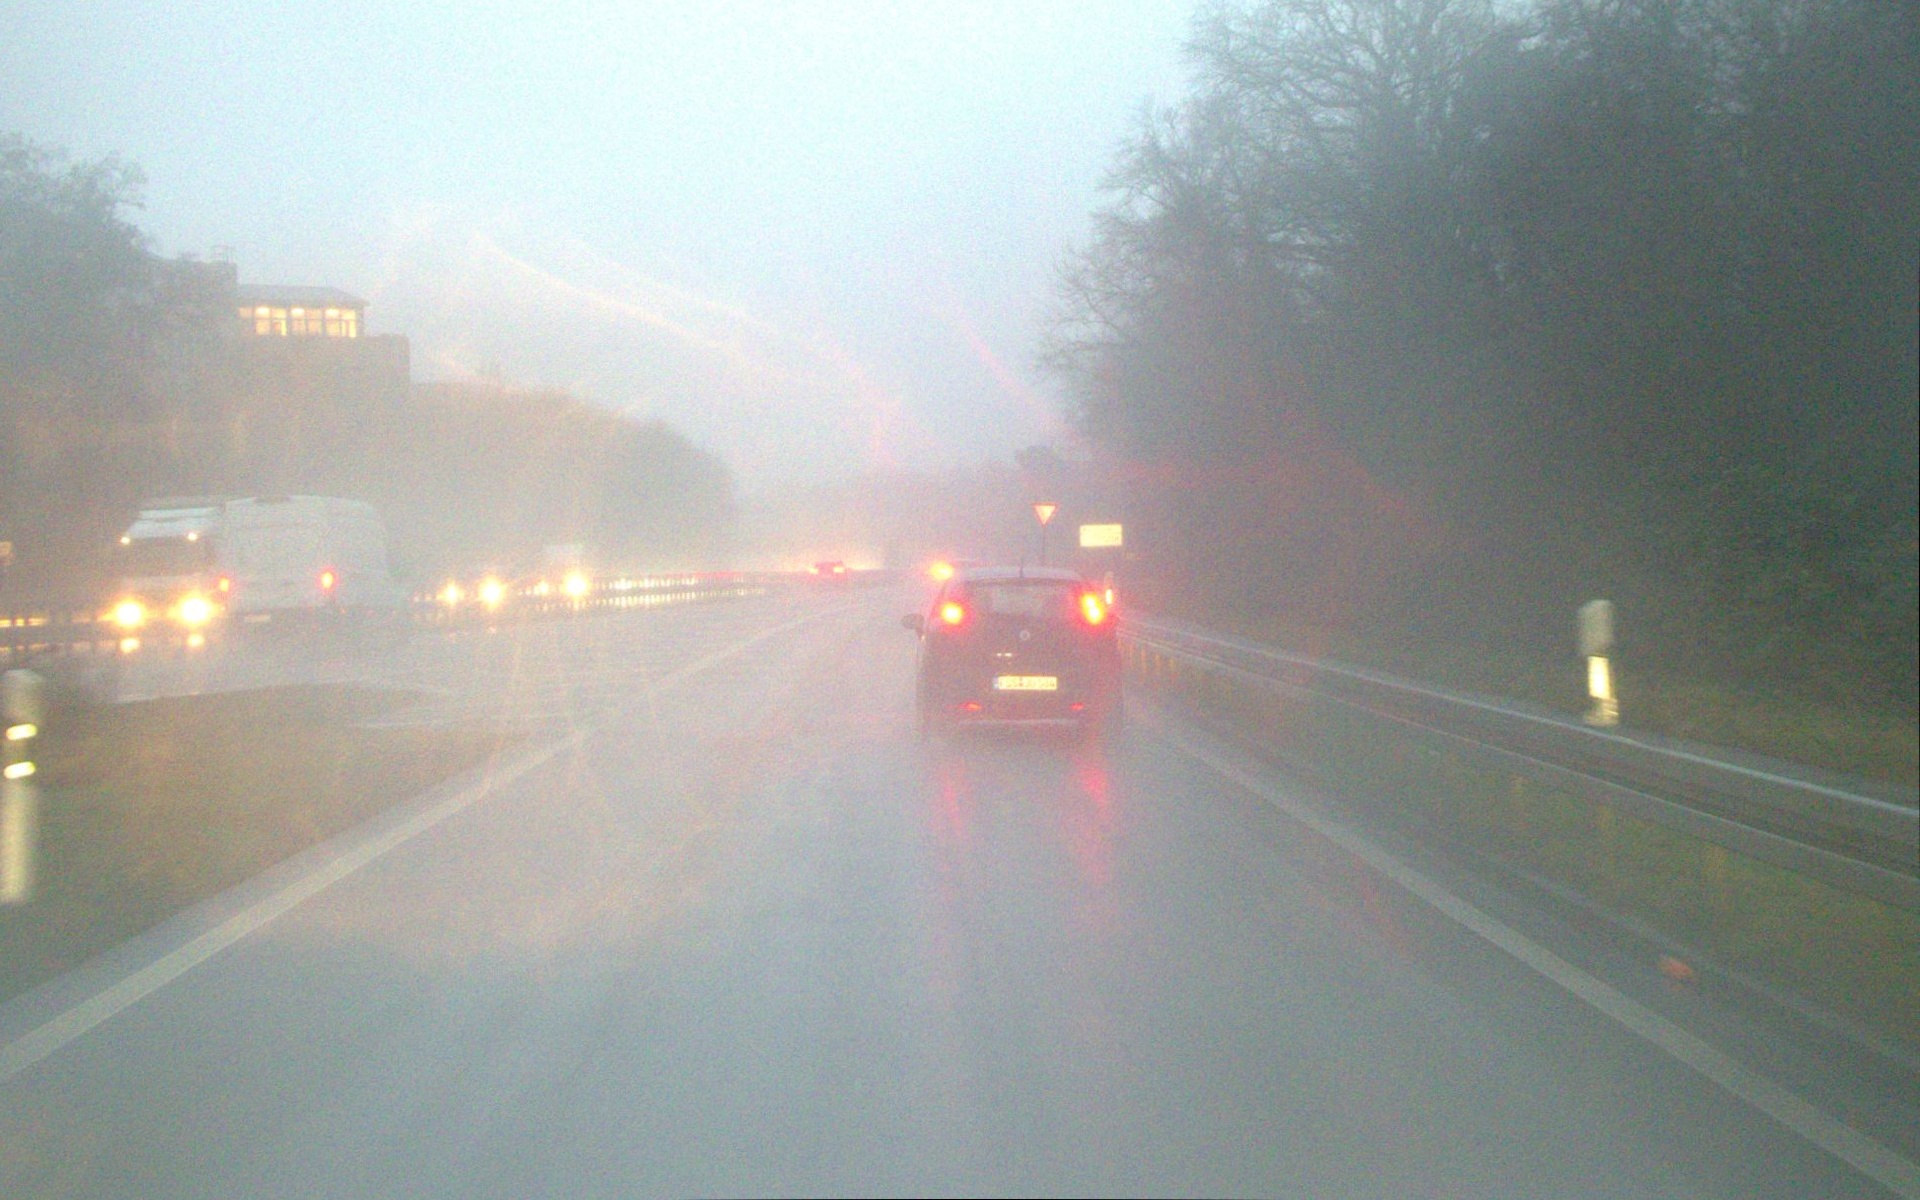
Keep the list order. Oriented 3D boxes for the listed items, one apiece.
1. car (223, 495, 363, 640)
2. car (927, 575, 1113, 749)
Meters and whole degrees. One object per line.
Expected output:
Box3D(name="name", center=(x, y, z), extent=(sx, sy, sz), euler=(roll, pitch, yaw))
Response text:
Box3D(name="car", center=(-11.733, -0.572, 60.679), extent=(2.000, 2.445, 4.001), euler=(1, 1, -5))
Box3D(name="car", center=(0.496, 0.498, 30.185), extent=(1.527, 1.411, 3.479), euler=(1, 1, 0))
